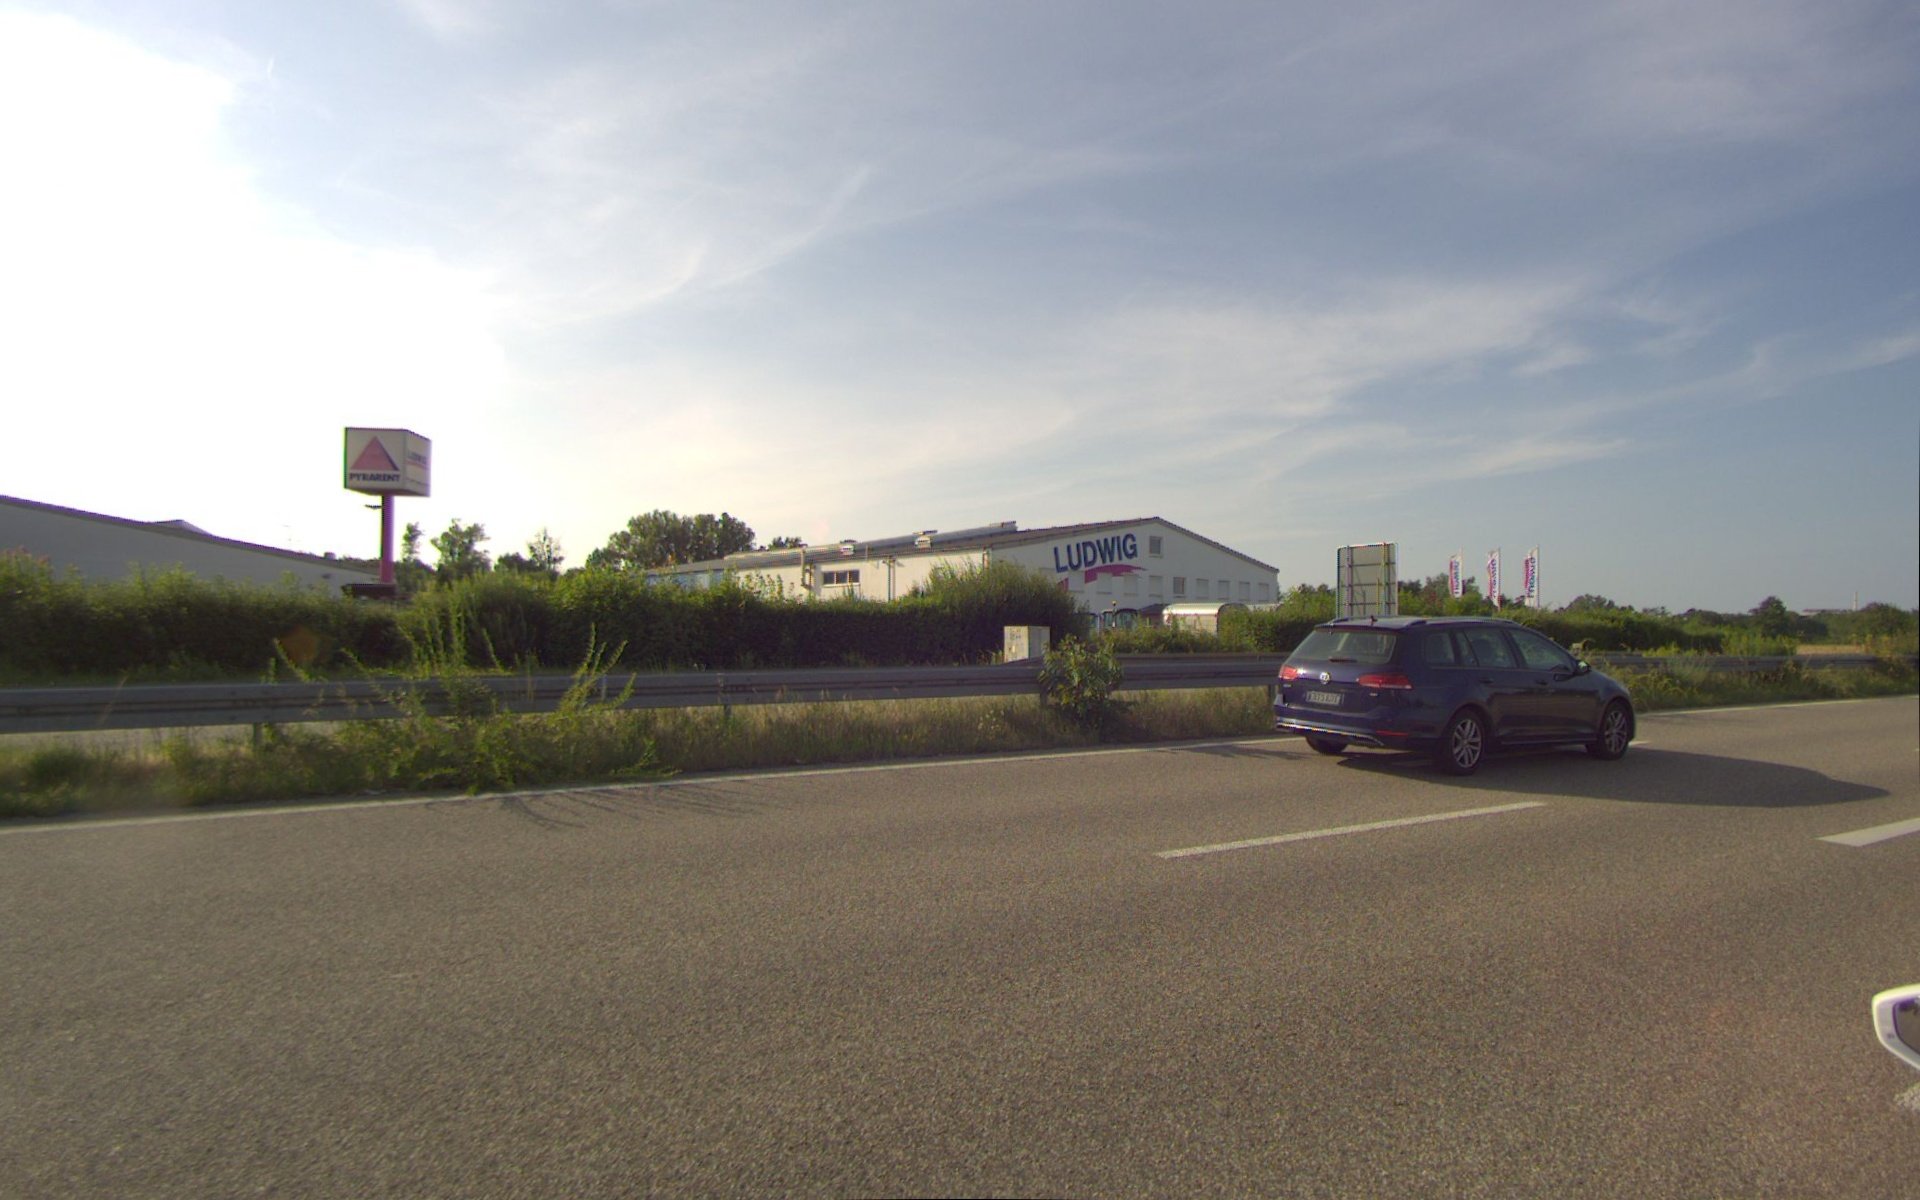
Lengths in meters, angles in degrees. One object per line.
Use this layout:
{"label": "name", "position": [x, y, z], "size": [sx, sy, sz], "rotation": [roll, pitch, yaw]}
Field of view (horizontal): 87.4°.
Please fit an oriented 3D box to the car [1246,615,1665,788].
{"label": "car", "position": [5.315, 0.927, 10.560], "size": [4.720, 1.490, 1.638], "rotation": [1, -1, -30]}
